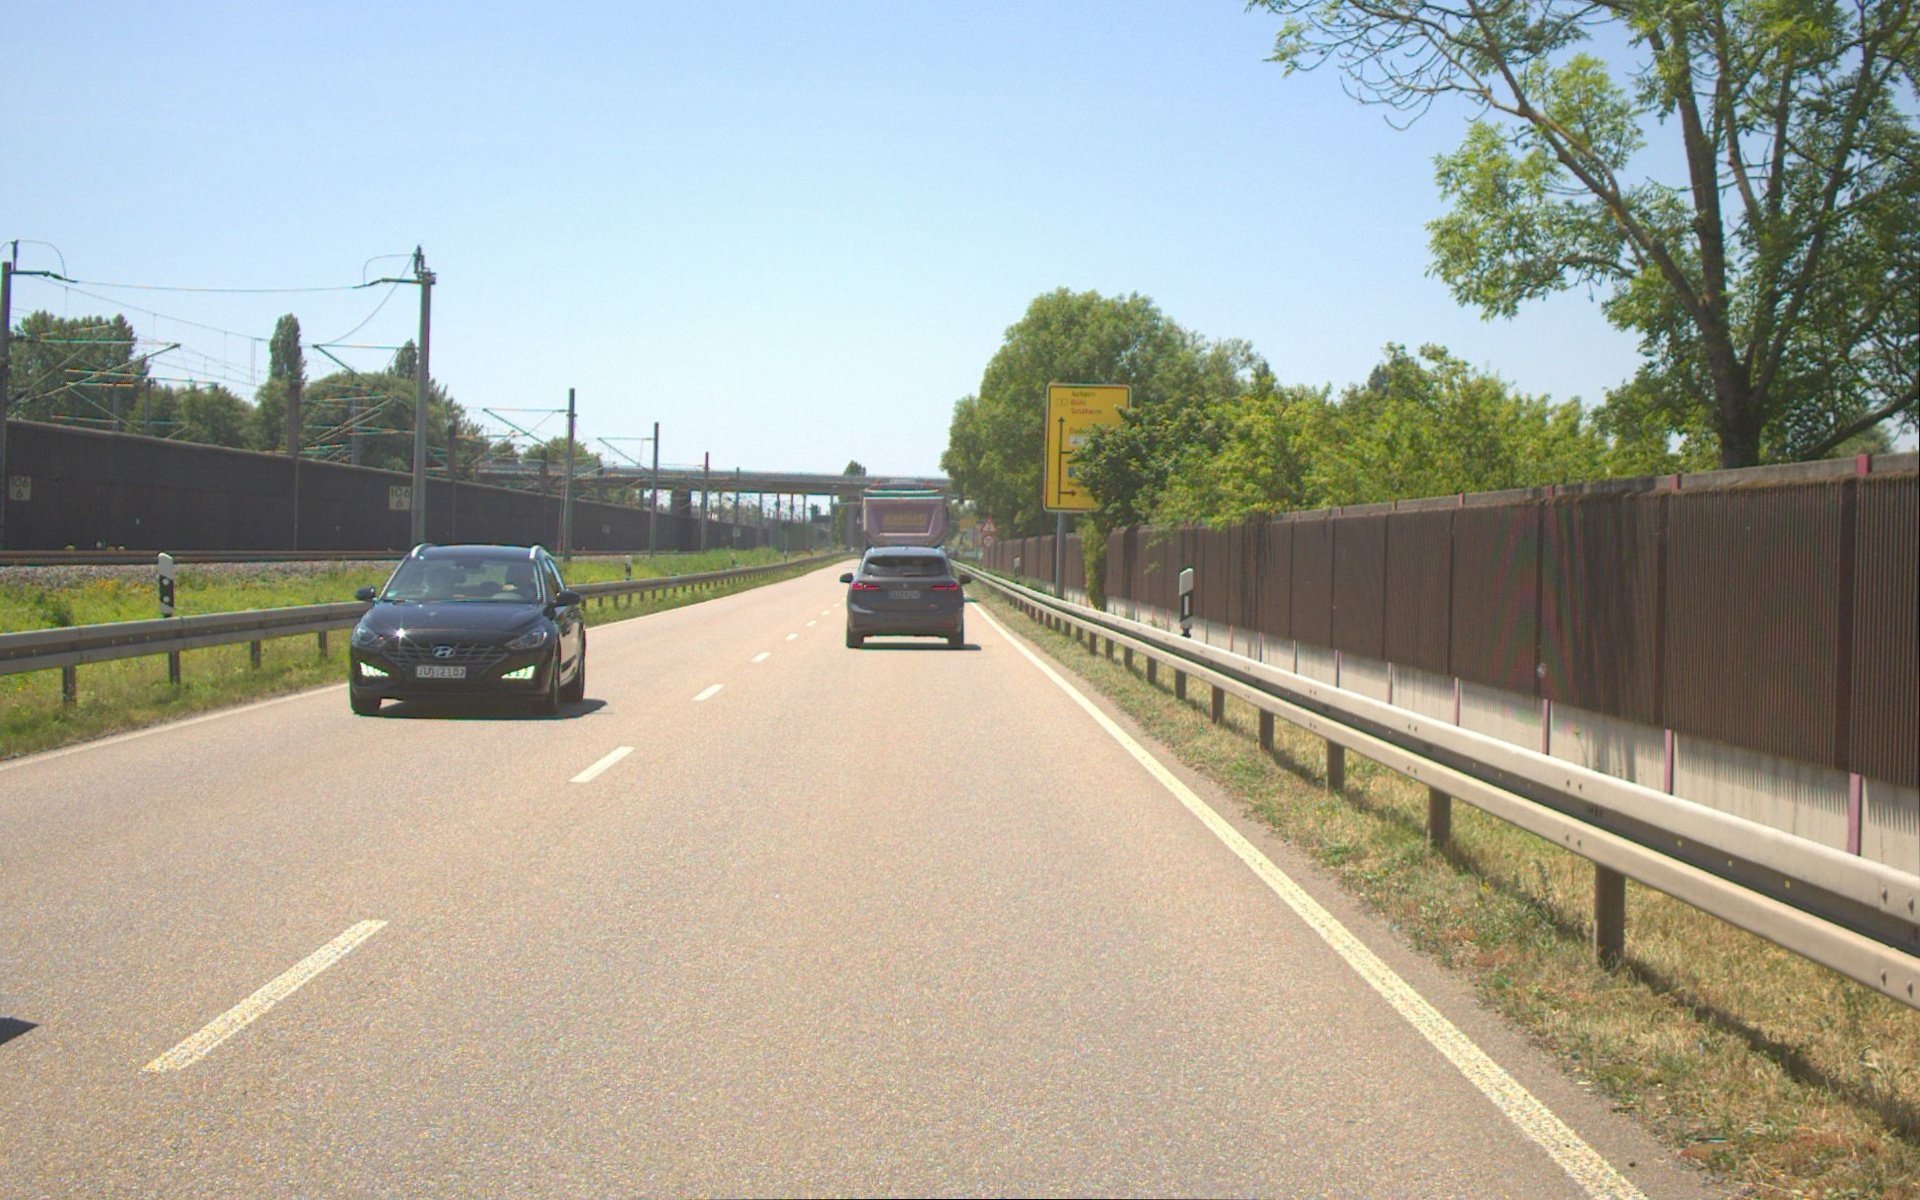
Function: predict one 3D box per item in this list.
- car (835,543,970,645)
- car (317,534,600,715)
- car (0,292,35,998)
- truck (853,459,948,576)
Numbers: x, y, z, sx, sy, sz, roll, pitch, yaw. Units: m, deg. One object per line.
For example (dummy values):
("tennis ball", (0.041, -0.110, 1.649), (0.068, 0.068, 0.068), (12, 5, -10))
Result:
("car", (-0.937, -0.125, 53.653), (1.993, 1.503, 4.001), (0, 1, -3))
("car", (-4.442, 0.173, 31.055), (1.975, 1.503, 4.163), (1, 1, -1))
("car", (-4.246, 0.180, 8.352), (2.261, 2.279, 6.235), (1, 1, 0))
("truck", (-1.802, -2.508, 106.171), (2.770, 3.413, 10.820), (0, 1, -1))
